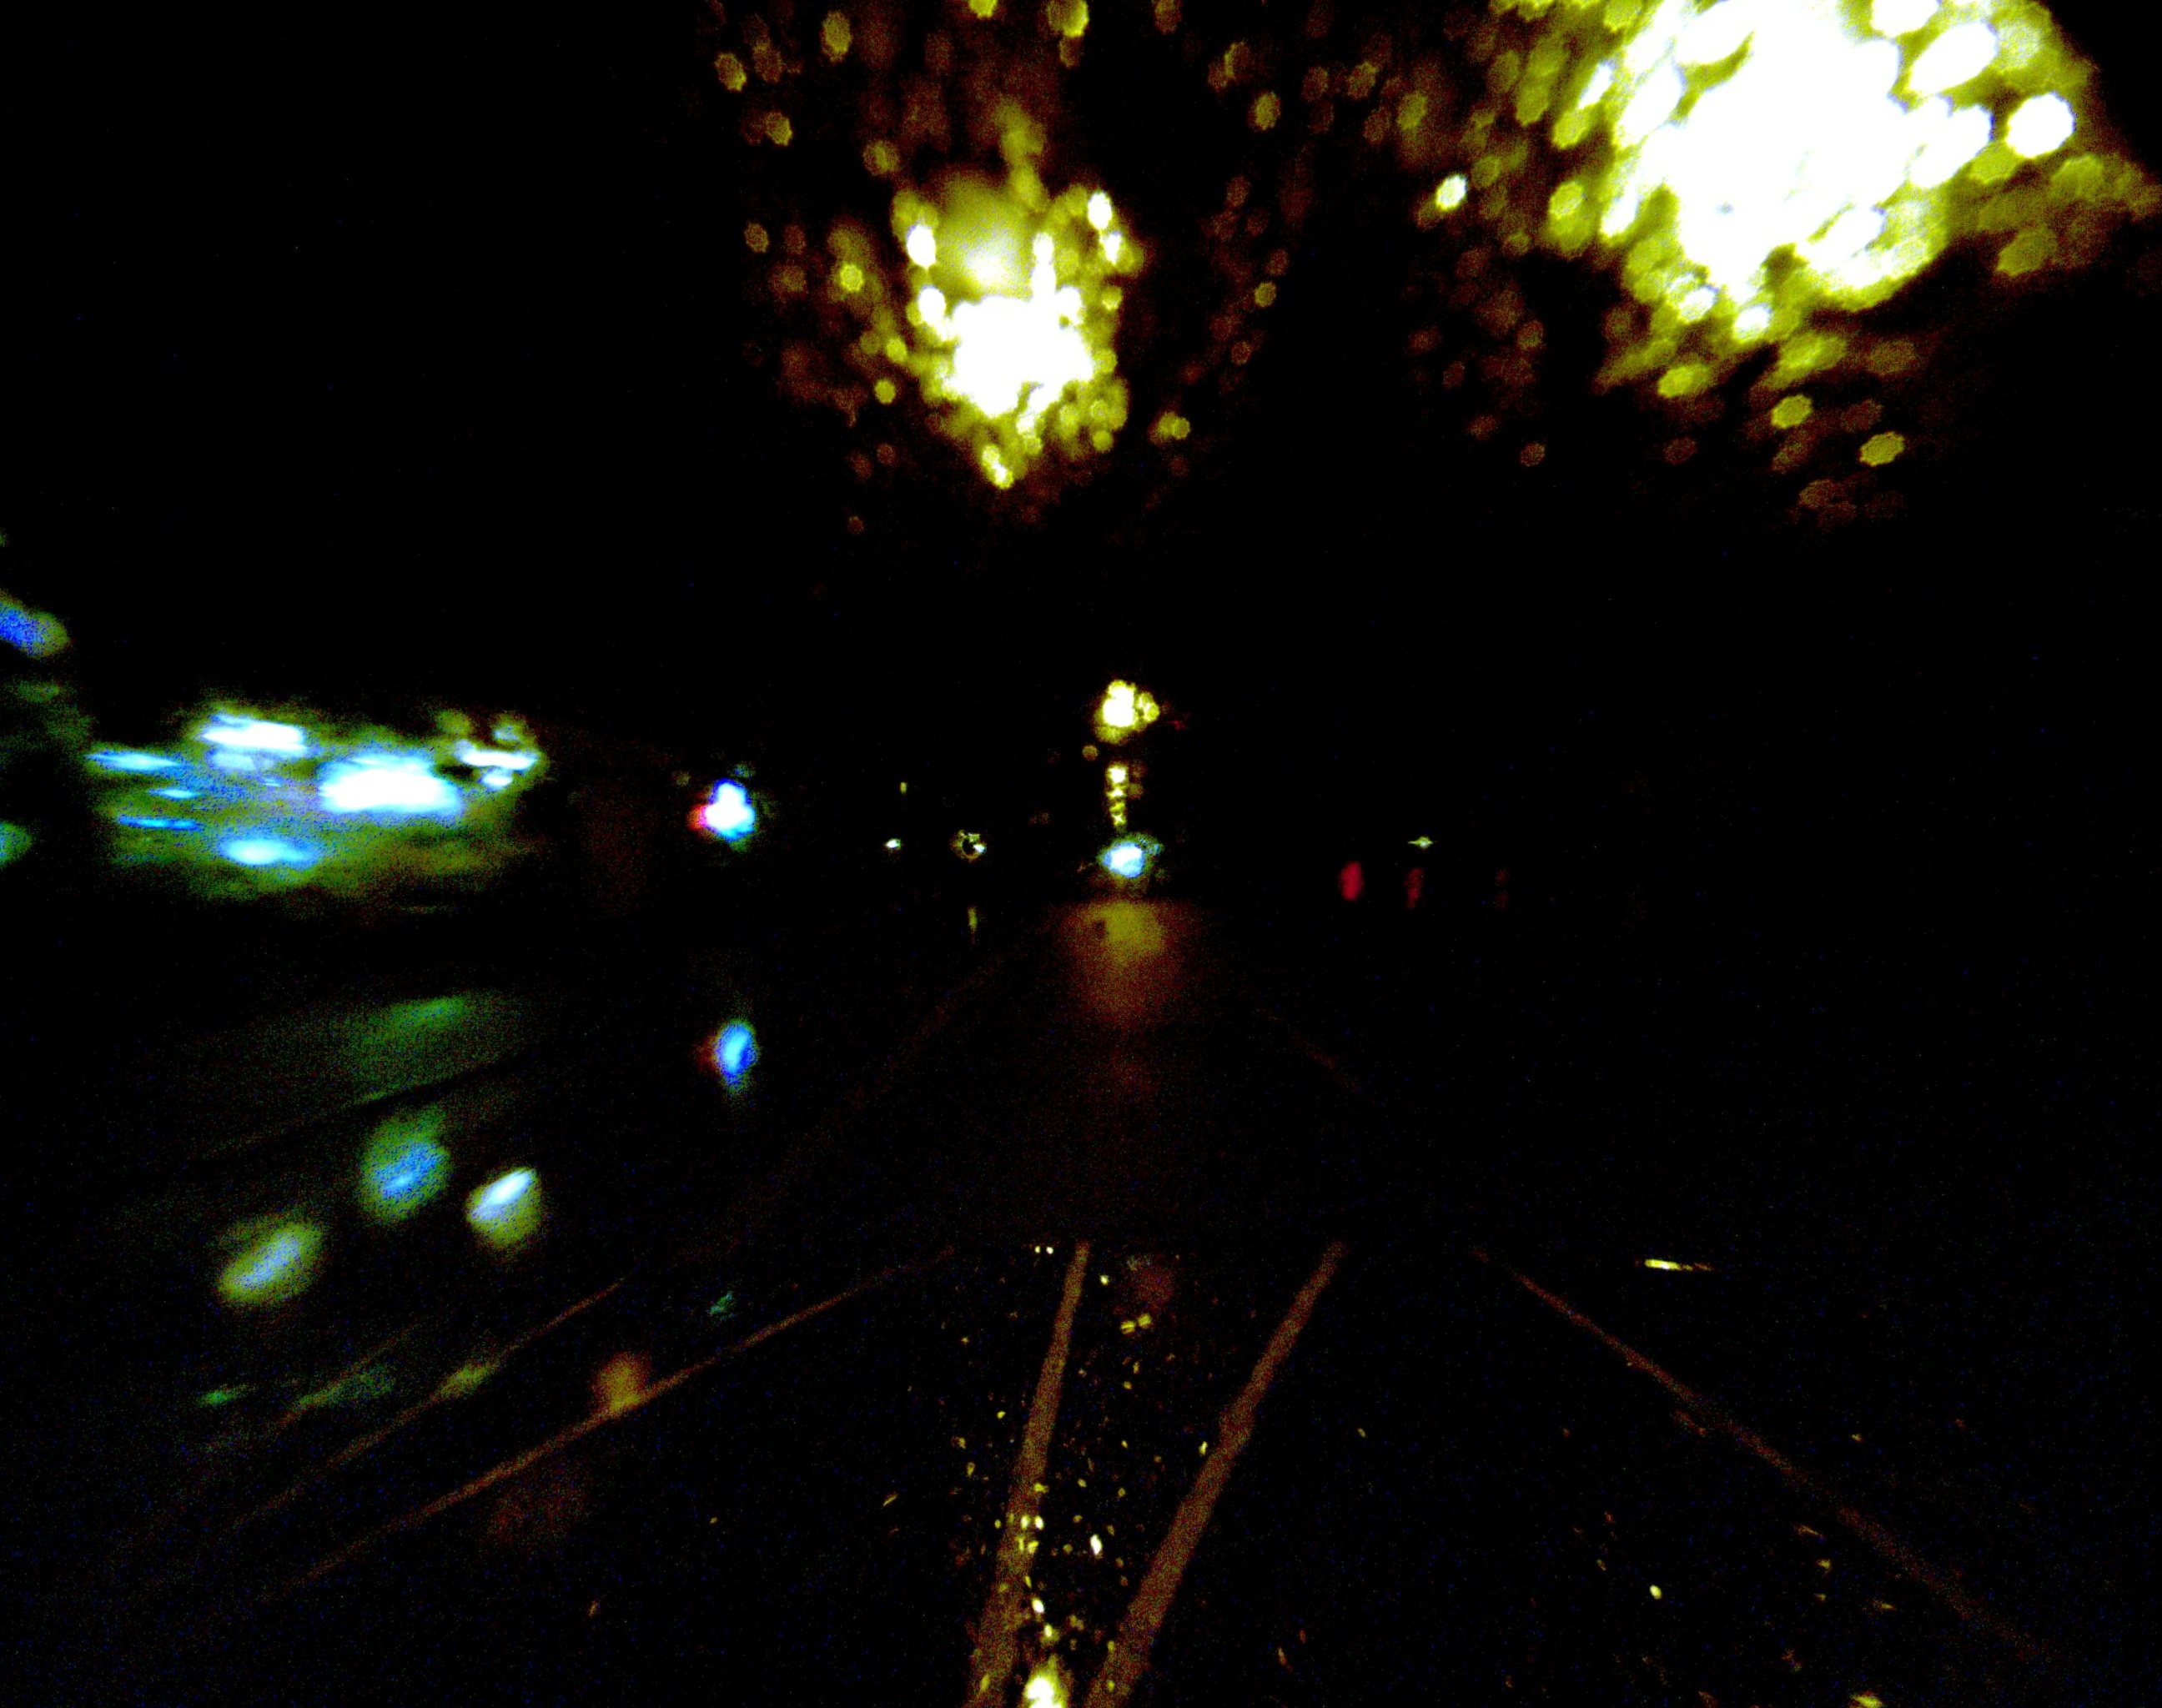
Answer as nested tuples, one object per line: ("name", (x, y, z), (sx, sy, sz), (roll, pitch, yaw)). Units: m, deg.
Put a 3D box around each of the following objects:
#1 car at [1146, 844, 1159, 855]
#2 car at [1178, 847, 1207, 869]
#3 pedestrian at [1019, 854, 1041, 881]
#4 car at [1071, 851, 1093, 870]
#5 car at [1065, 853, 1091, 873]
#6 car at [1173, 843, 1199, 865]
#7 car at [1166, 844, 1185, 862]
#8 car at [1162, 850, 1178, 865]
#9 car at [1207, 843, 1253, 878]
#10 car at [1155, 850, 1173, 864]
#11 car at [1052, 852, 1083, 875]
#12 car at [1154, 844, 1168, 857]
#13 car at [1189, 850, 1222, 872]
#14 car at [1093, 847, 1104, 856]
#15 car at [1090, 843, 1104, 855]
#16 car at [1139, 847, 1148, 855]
("car", (10.254, -0.611, 109.204), (1.669, 1.531, 4.392), (1, 1, 4))
("car", (7.948, 0.267, 54.388), (1.602, 1.478, 4.275), (3, 1, 3))
("pedestrian", (-2.973, 0.783, 44.480), (1.052, 1.566, 1.019), (-1, 1, 8))
("car", (0.125, 0.546, 67.897), (1.803, 1.522, 5.052), (1, 1, 2))
("car", (-0.202, 0.648, 58.775), (1.827, 1.413, 4.488), (1, 1, 2))
("car", (8.228, -0.039, 59.576), (1.602, 1.596, 4.259), (3, 1, 3))
("car", (9.111, -0.114, 73.658), (1.477, 1.610, 3.374), (-2, 1, 1))
("car", (9.241, 0.373, 78.794), (1.434, 1.452, 3.375), (3, 1, 4))
("car", (7.383, 0.296, 38.017), (1.602, 1.555, 4.380), (3, 1, 3))
("car", (10.028, 0.373, 92.329), (1.670, 1.531, 4.390), (3, 1, 1))
("car", (-0.880, 0.623, 52.661), (1.827, 1.522, 4.783), (1, 1, 2))
("car", (10.304, -0.453, 98.071), (1.669, 1.531, 4.391), (0, 1, 3))
("car", (7.901, 0.439, 48.461), (1.602, 1.365, 4.068), (0, 0, 3))
("car", (3.020, -0.380, 129.214), (1.800, 1.464, 3.951), (1, 1, 0))
("car", (2.176, -0.721, 103.714), (1.800, 1.482, 4.129), (1, -1, 0))
("car", (11.900, -0.538, 144.366), (1.627, 1.464, 3.964), (1, 1, 4))
